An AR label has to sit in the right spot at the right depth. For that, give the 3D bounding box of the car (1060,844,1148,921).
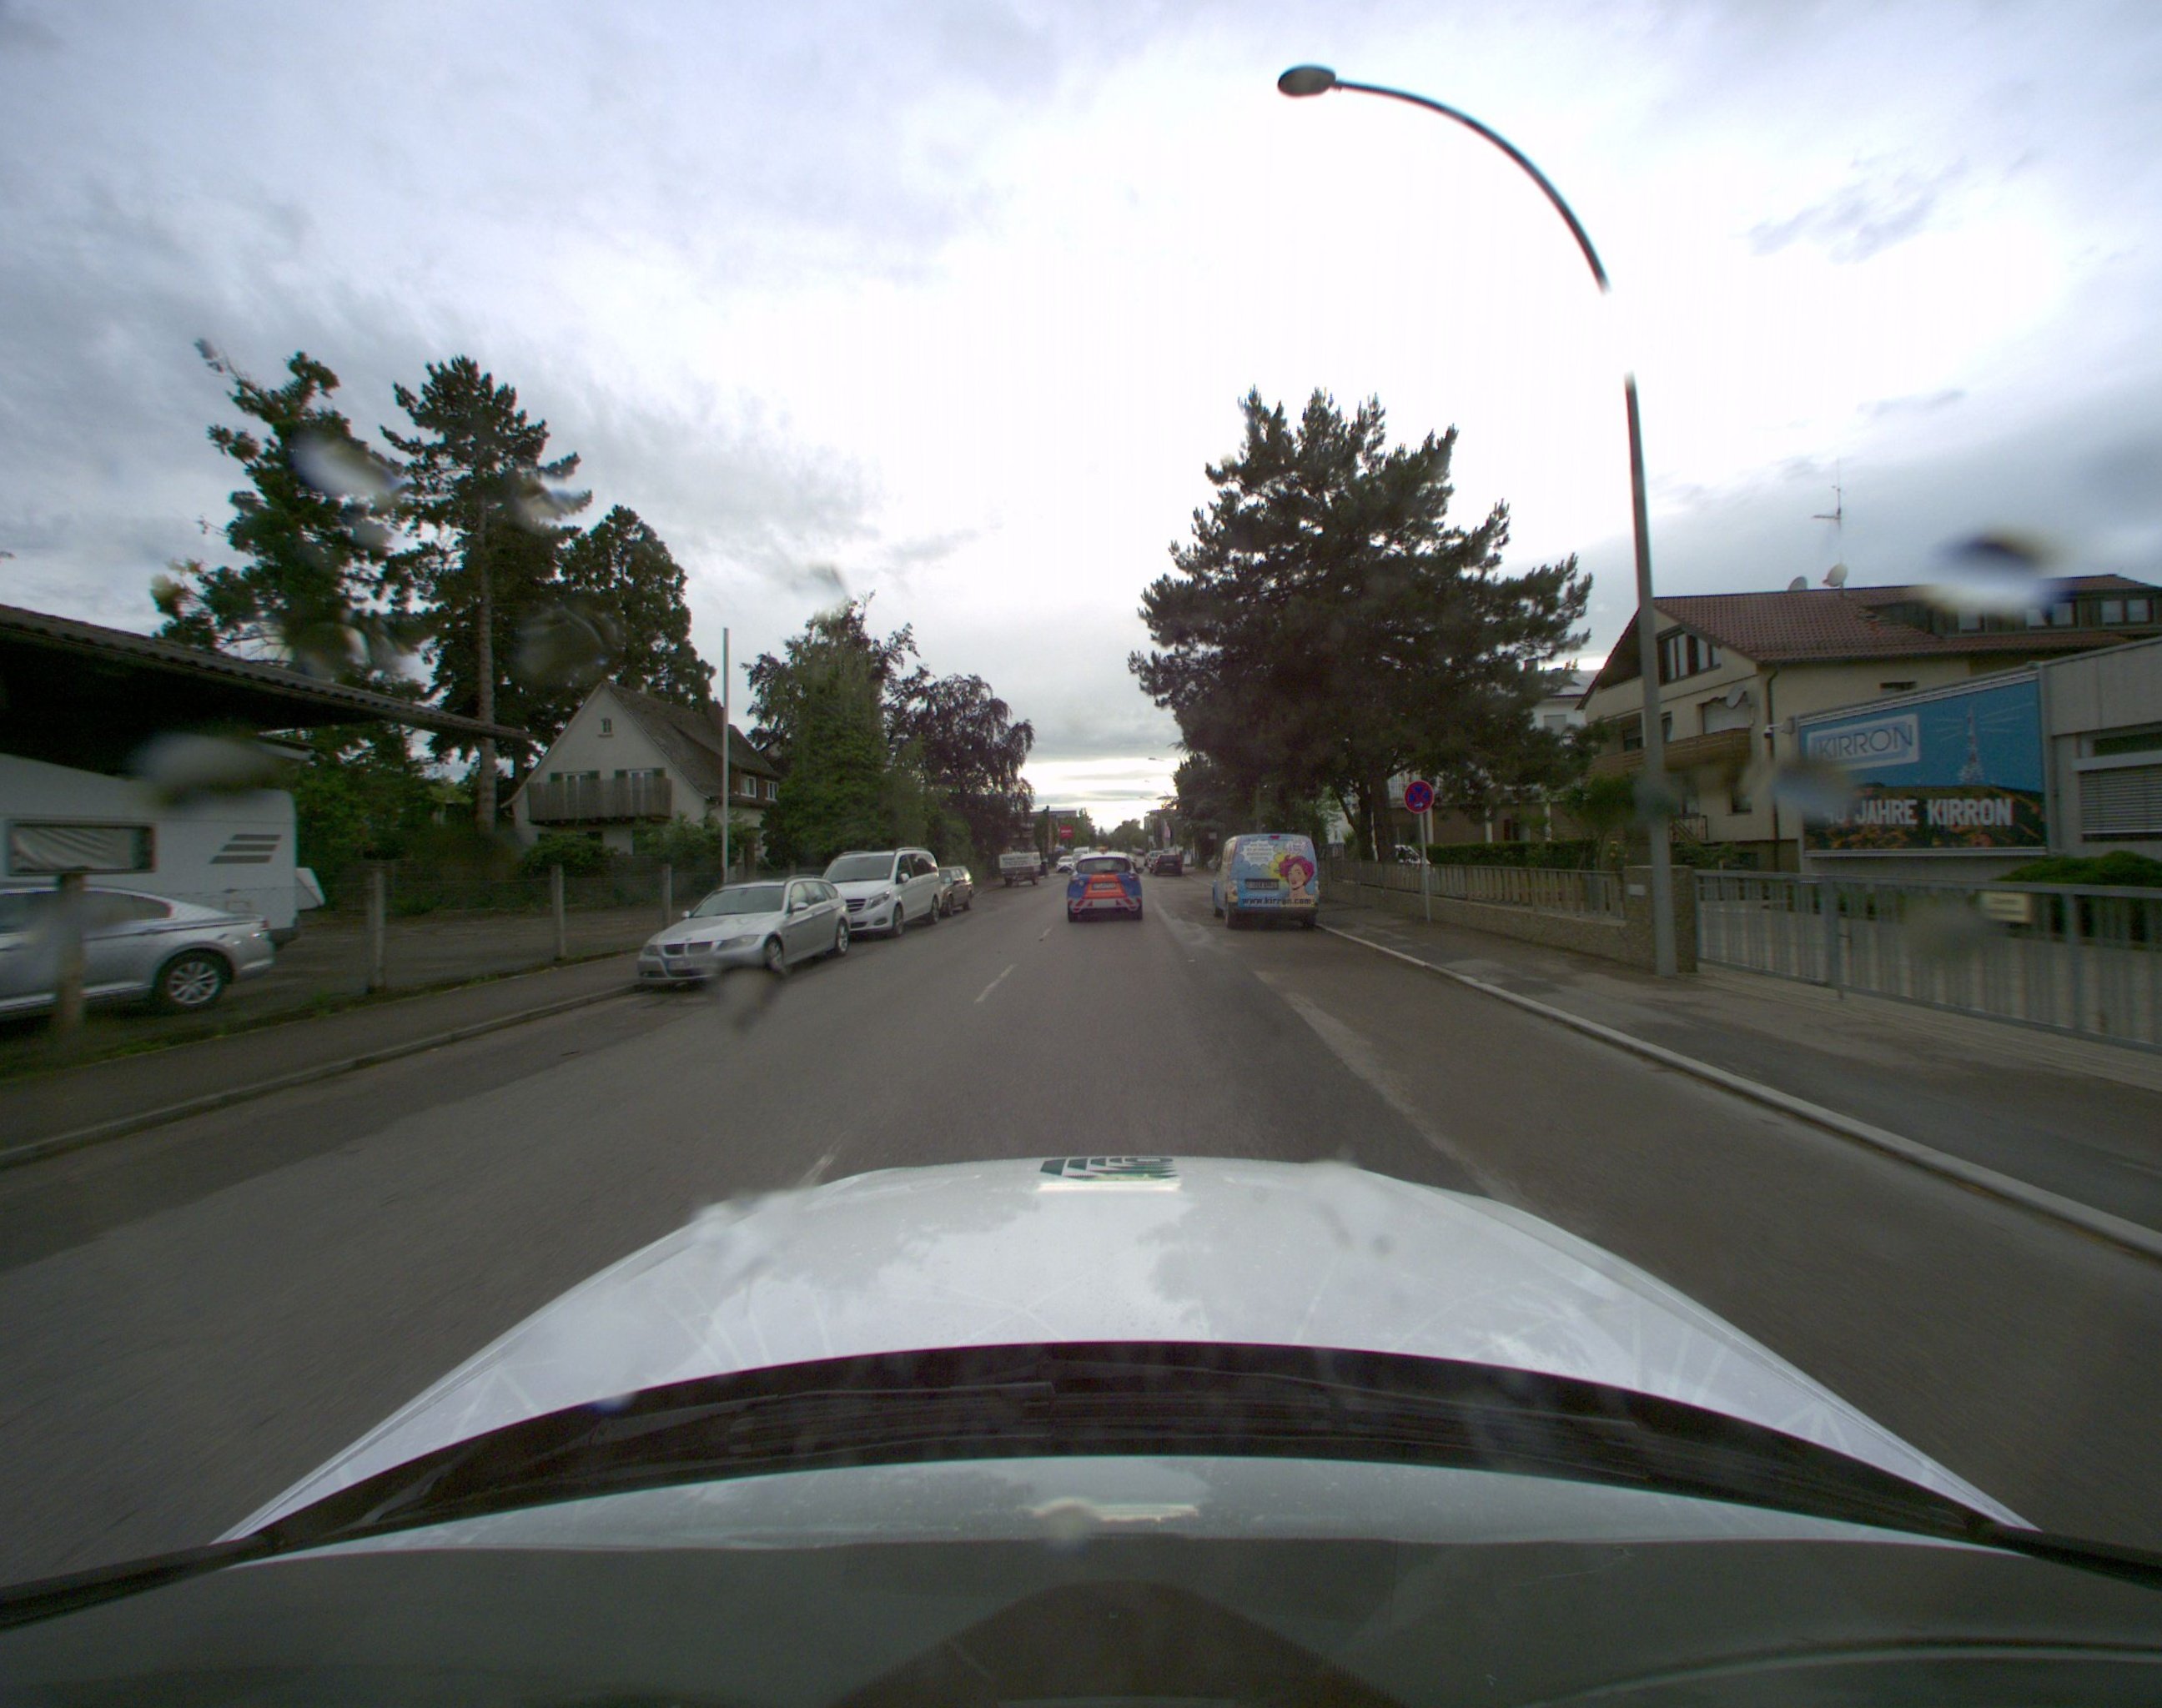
[{"bbox_3d":[0.615,0.626,19.908,1.881,1.632,4.003,-2,0,3],"label":"car"}]

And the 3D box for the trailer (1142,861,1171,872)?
[{"bbox_3d":[5.462,0.904,59.347,1.931,0.754,2.860,-2,0,2],"label":"trailer"}]

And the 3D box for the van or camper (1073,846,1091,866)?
[{"bbox_3d":[0.138,0.238,103.421,2.153,2.353,4.335,-2,0,2],"label":"van or camper"}]

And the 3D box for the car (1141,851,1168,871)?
[{"bbox_3d":[5.803,0.537,64.681,1.852,1.454,3.523,-2,0,0],"label":"car"}]

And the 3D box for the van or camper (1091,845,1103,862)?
[{"bbox_3d":[2.773,-0.029,141.057,1.986,2.775,5.443,-2,0,2],"label":"van or camper"}]

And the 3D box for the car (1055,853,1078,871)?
[{"bbox_3d":[-1.324,0.763,77.020,1.986,1.596,4.001,-2,0,1],"label":"car"}]

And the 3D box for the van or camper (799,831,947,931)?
[{"bbox_3d":[-4.615,0.631,18.944,1.883,2.014,5.099,0,-2,3],"label":"van or camper"}]

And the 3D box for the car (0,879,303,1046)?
[{"bbox_3d":[-10.537,1.000,7.518,1.928,1.444,4.786,-1,-1,3],"label":"car"}]

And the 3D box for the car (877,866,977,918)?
[{"bbox_3d":[-4.533,1.086,24.581,1.985,1.288,4.004,-2,0,3],"label":"car"}]

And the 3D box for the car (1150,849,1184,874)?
[{"bbox_3d":[5.723,0.504,54.603,1.986,1.536,4.002,-2,0,2],"label":"car"}]

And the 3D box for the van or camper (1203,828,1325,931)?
[{"bbox_3d":[3.751,0.486,17.355,1.747,1.883,4.002,-2,0,2],"label":"van or camper"}]

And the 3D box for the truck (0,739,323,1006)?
[{"bbox_3d":[-13.026,0.205,9.568,2.384,2.927,5.961,0,-1,3],"label":"truck"}]

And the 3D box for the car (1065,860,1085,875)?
[{"bbox_3d":[-0.647,1.425,89.047,1.986,1.530,4.002,-2,0,2],"label":"car"}]

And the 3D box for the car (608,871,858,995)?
[{"bbox_3d":[-5.021,1.080,12.470,1.735,1.480,4.187,-4,-2,4],"label":"car"}]

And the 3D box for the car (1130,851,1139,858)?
[{"bbox_3d":[12.688,0.021,192.176,1.986,1.585,4.002,-2,0,2],"label":"car"}]

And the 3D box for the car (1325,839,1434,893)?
[{"bbox_3d":[8.923,0.405,24.721,1.986,1.486,4.001,0,-2,2],"label":"car"}]

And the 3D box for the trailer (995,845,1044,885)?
[{"bbox_3d":[-3.339,0.584,45.180,2.212,2.013,4.438,-2,0,1],"label":"trailer"}]

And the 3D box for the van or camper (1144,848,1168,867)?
[{"bbox_3d":[7.277,0.324,79.283,1.986,1.784,4.002,-2,0,2],"label":"van or camper"}]
